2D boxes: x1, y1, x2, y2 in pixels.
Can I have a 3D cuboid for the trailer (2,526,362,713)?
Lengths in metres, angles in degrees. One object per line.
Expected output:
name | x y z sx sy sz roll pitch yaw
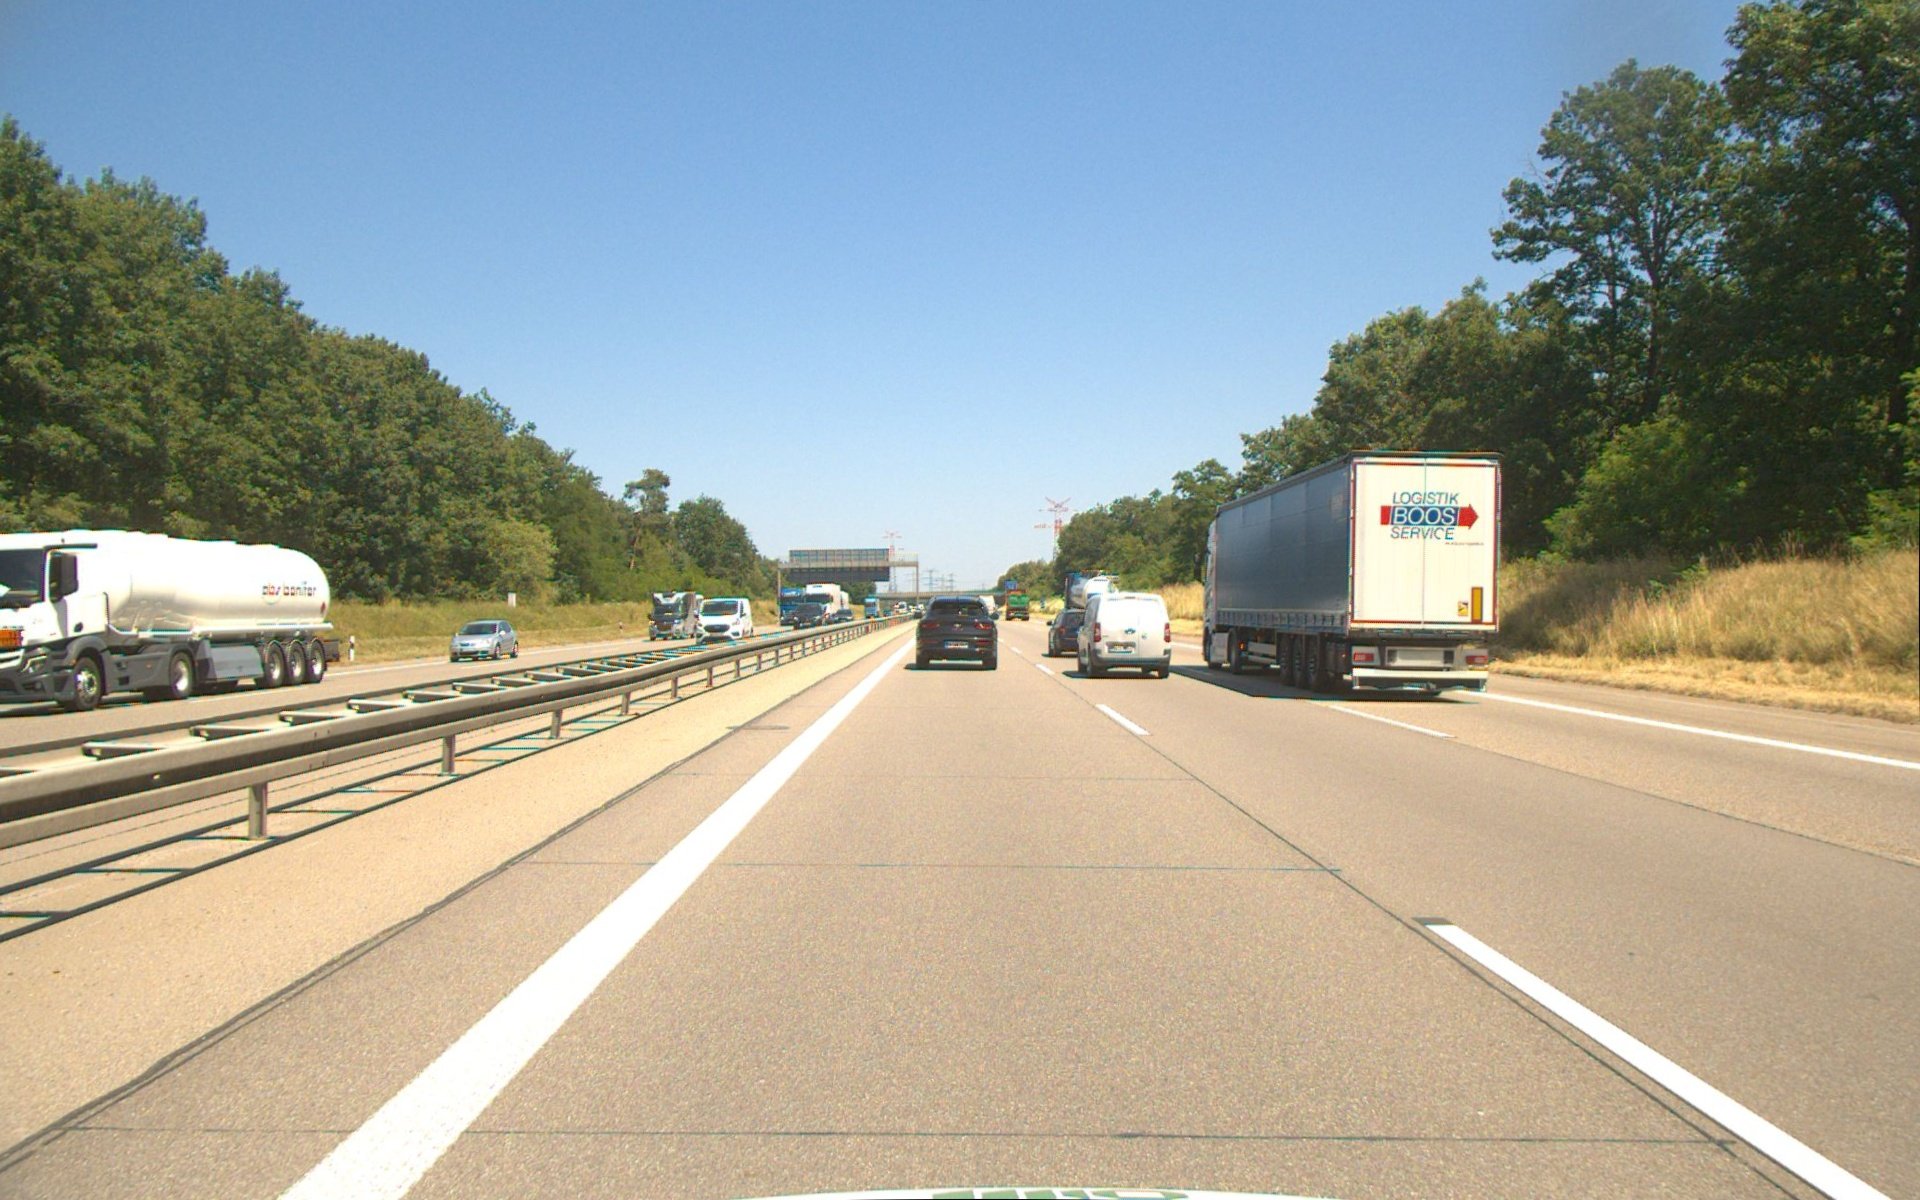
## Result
trailer | -17.136 0.375 37.799 2.628 3.494 11.798 -2 0 -1

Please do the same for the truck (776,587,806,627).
truck | -18.512 0.732 181.358 2.615 4.242 6.187 -2 0 -1

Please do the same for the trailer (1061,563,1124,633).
trailer | 7.885 -0.067 100.007 2.628 3.904 12.007 1 0 -1

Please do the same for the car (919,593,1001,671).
car | -0.063 0.735 41.299 1.901 1.783 5.812 0 0 -1

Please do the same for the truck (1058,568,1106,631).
truck | 7.790 -0.024 105.809 2.628 3.904 4.443 1 0 -1

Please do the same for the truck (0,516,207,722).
truck | -17.076 0.366 31.440 2.628 3.494 6.143 -2 0 -1

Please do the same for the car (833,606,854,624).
car | -10.597 1.335 150.587 1.584 1.508 4.623 -2 0 -1

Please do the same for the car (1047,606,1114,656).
car | 3.717 0.931 51.640 1.738 1.498 3.871 0 0 -1

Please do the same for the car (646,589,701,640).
car | -17.213 0.854 99.702 2.168 2.907 6.452 -2 0 -1

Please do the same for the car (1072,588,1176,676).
car | 3.642 0.687 37.599 1.777 1.859 5.109 0 0 -1

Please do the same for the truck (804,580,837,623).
truck | -13.617 0.141 161.818 2.615 4.059 6.339 -2 0 -1

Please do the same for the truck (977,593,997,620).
truck | 3.092 0.748 188.428 2.018 2.965 7.001 0 0 -1

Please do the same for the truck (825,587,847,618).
truck | -17.864 0.342 238.865 2.647 4.259 6.187 -2 0 -1

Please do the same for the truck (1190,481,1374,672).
truck | 7.737 -0.517 40.537 3.219 4.293 6.006 1 0 -1

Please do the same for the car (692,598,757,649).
car | -9.864 0.938 69.692 1.955 1.981 5.740 -2 0 -1

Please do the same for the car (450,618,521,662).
car | -17.698 1.454 61.859 1.537 1.490 4.034 -2 0 -1

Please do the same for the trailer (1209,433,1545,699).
trailer | 7.855 -0.516 33.857 3.219 4.293 13.562 1 0 -1

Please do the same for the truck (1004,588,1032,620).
truck | 7.121 0.483 203.676 2.928 3.794 10.087 1 0 -1

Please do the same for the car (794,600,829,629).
car | -9.998 0.956 111.439 1.838 1.880 5.833 -2 0 -1
